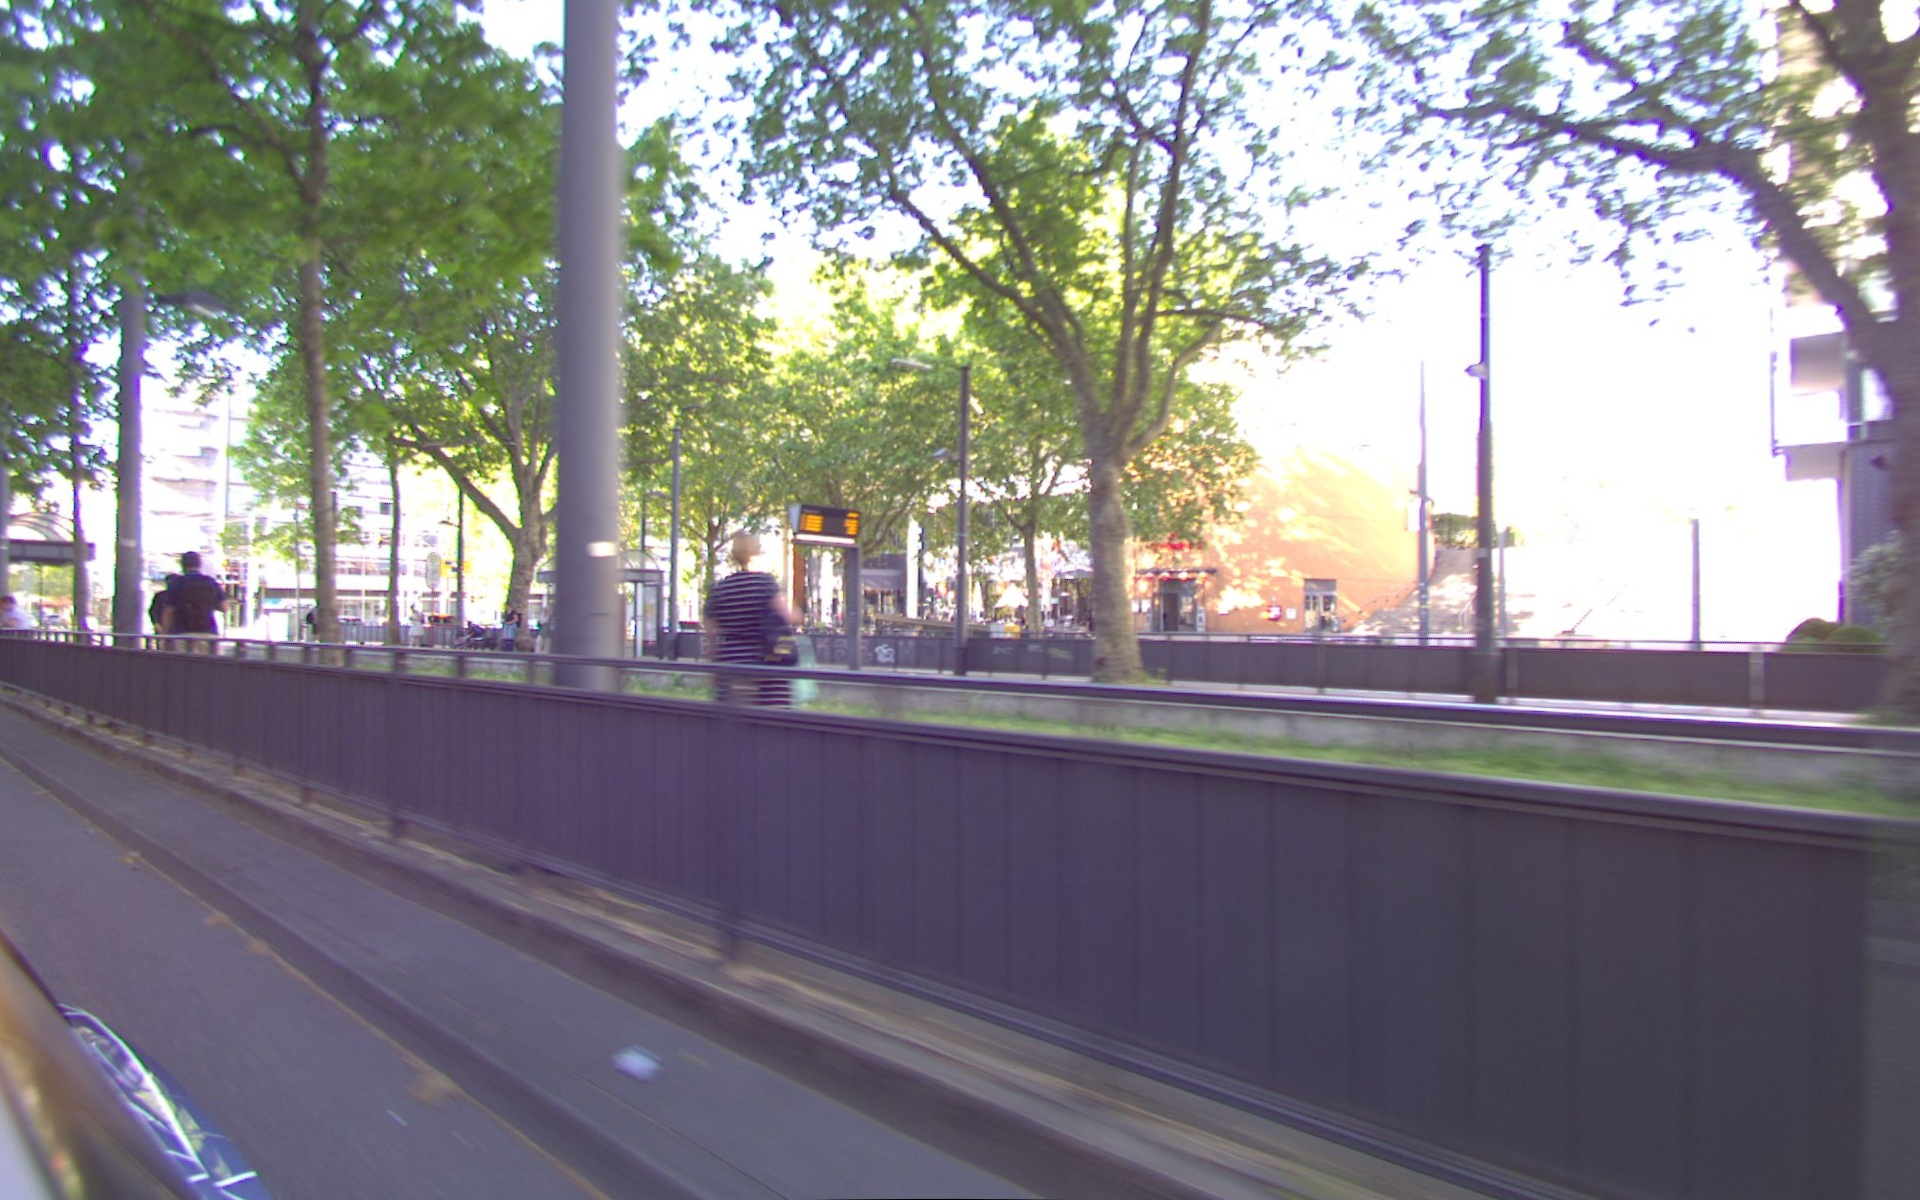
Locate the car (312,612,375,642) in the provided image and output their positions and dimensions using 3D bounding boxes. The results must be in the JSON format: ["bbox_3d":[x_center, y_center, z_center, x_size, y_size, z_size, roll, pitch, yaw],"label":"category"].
[{"bbox_3d":[-32.040,1.385,52.543,3.340,1.466,1.847,0,-1,41],"label":"car"}]

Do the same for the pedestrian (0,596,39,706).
[{"bbox_3d":[-15.083,0.796,15.944,0.644,1.703,0.733,0,1,39],"label":"pedestrian"}]

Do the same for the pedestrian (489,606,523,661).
[{"bbox_3d":[-13.868,1.004,30.916,0.666,1.654,0.662,0,-1,29],"label":"pedestrian"}]

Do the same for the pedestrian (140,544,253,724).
[{"bbox_3d":[-8.102,0.349,10.748,0.824,1.816,0.701,-1,-1,33],"label":"pedestrian"}]

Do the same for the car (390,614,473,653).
[{"bbox_3d":[-23.796,1.507,45.514,3.999,1.652,1.972,0,-2,42],"label":"car"}]

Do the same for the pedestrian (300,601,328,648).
[{"bbox_3d":[-24.545,0.929,38.437,0.674,1.767,0.649,-1,-1,32],"label":"pedestrian"}]

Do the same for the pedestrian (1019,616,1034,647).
[{"bbox_3d":[3.428,1.615,52.203,0.597,1.616,0.572,-1,-1,39],"label":"pedestrian"}]

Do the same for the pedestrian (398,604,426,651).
[{"bbox_3d":[-20.611,1.029,38.057,0.635,1.753,0.690,-1,-1,32],"label":"pedestrian"}]

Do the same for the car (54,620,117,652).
[{"bbox_3d":[-42.389,1.707,49.039,3.340,1.466,1.847,0,-1,41],"label":"car"}]

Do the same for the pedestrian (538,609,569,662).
[{"bbox_3d":[-11.625,1.009,28.927,0.605,1.497,0.566,-1,-1,29],"label":"pedestrian"}]

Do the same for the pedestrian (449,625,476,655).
[{"bbox_3d":[-17.753,1.425,36.106,0.713,1.048,0.699,1,-1,-42],"label":"pedestrian"}]

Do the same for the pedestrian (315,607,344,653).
[{"bbox_3d":[-23.844,1.113,38.262,0.697,1.708,0.679,-1,-1,32],"label":"pedestrian"}]

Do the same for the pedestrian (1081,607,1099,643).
[{"bbox_3d":[5.964,1.140,46.453,0.571,1.616,0.580,1,-1,-45],"label":"pedestrian"}]

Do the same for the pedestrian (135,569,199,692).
[{"bbox_3d":[-12.242,0.464,15.632,0.637,1.853,0.640,-1,-1,40],"label":"pedestrian"}]

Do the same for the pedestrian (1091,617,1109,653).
[{"bbox_3d":[6.471,1.608,46.773,0.571,1.616,0.598,1,-1,-45],"label":"pedestrian"}]

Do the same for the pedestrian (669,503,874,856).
[{"bbox_3d":[-1.022,0.389,5.474,0.862,1.715,0.721,-1,-1,42],"label":"pedestrian"}]

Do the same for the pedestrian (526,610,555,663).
[{"bbox_3d":[-12.126,1.041,29.255,0.549,1.509,0.549,0,-1,29],"label":"pedestrian"}]
